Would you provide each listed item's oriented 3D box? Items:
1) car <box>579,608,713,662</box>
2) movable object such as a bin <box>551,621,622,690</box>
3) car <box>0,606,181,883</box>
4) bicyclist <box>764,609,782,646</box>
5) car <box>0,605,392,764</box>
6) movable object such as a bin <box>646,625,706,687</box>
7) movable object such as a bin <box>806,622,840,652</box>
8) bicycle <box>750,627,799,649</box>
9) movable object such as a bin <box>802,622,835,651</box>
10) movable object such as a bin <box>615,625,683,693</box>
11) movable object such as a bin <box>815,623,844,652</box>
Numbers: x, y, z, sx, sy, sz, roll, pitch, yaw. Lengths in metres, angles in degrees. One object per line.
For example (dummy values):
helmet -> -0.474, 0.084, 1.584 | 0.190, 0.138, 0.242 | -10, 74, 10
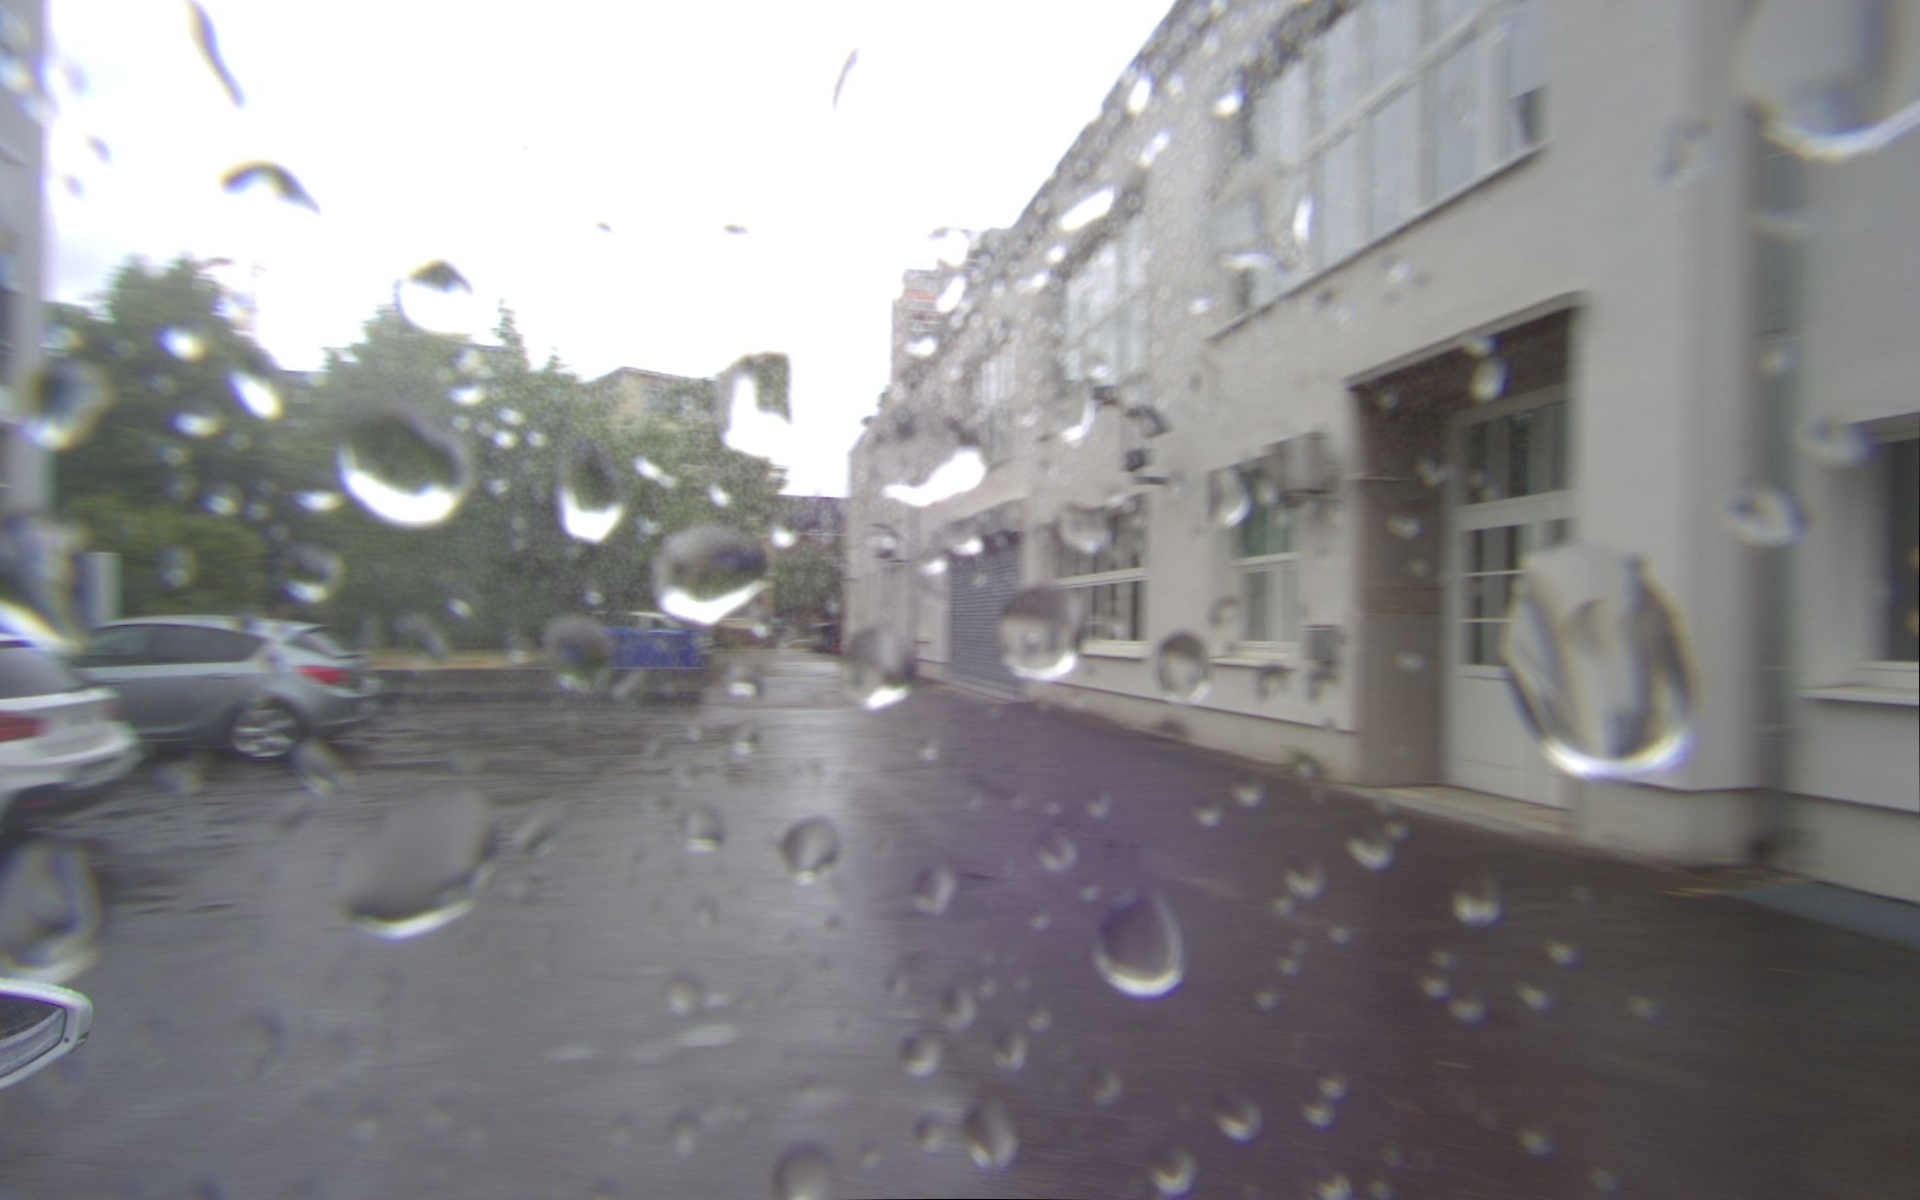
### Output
car -> -11.742, 1.343, 37.713 | 4.610, 1.904, 2.123 | 0, -4, -12
movable object such as a bin -> -7.919, 1.174, 21.333 | 1.211, 1.374, 1.969 | 0, -3, -14
car -> -7.454, 0.784, 5.811 | 4.147, 1.508, 1.997 | 1, -2, -18
bicyclist -> -10.419, 1.538, 55.778 | 0.702, 2.040, 0.739 | 1, 0, -43
car -> -8.691, 0.853, 10.743 | 4.147, 1.508, 1.997 | 1, -2, -18
movable object such as a bin -> -6.677, 1.322, 23.624 | 1.290, 1.374, 1.904 | 0, -3, -14
movable object such as a bin -> -6.851, 1.844, 49.996 | 1.467, 1.466, 1.312 | 0, -3, -19
bicycle -> -10.336, 2.089, 55.866 | 2.713, 1.201, 0.730 | 1, -1, -43
movable object such as a bin -> -7.259, 1.887, 51.279 | 1.467, 1.466, 1.312 | 0, -3, -19
movable object such as a bin -> -6.675, 1.261, 21.633 | 1.290, 1.374, 1.904 | 0, -3, -14
movable object such as a bin -> -6.332, 1.828, 48.483 | 1.167, 1.391, 1.312 | 0, -3, -19
